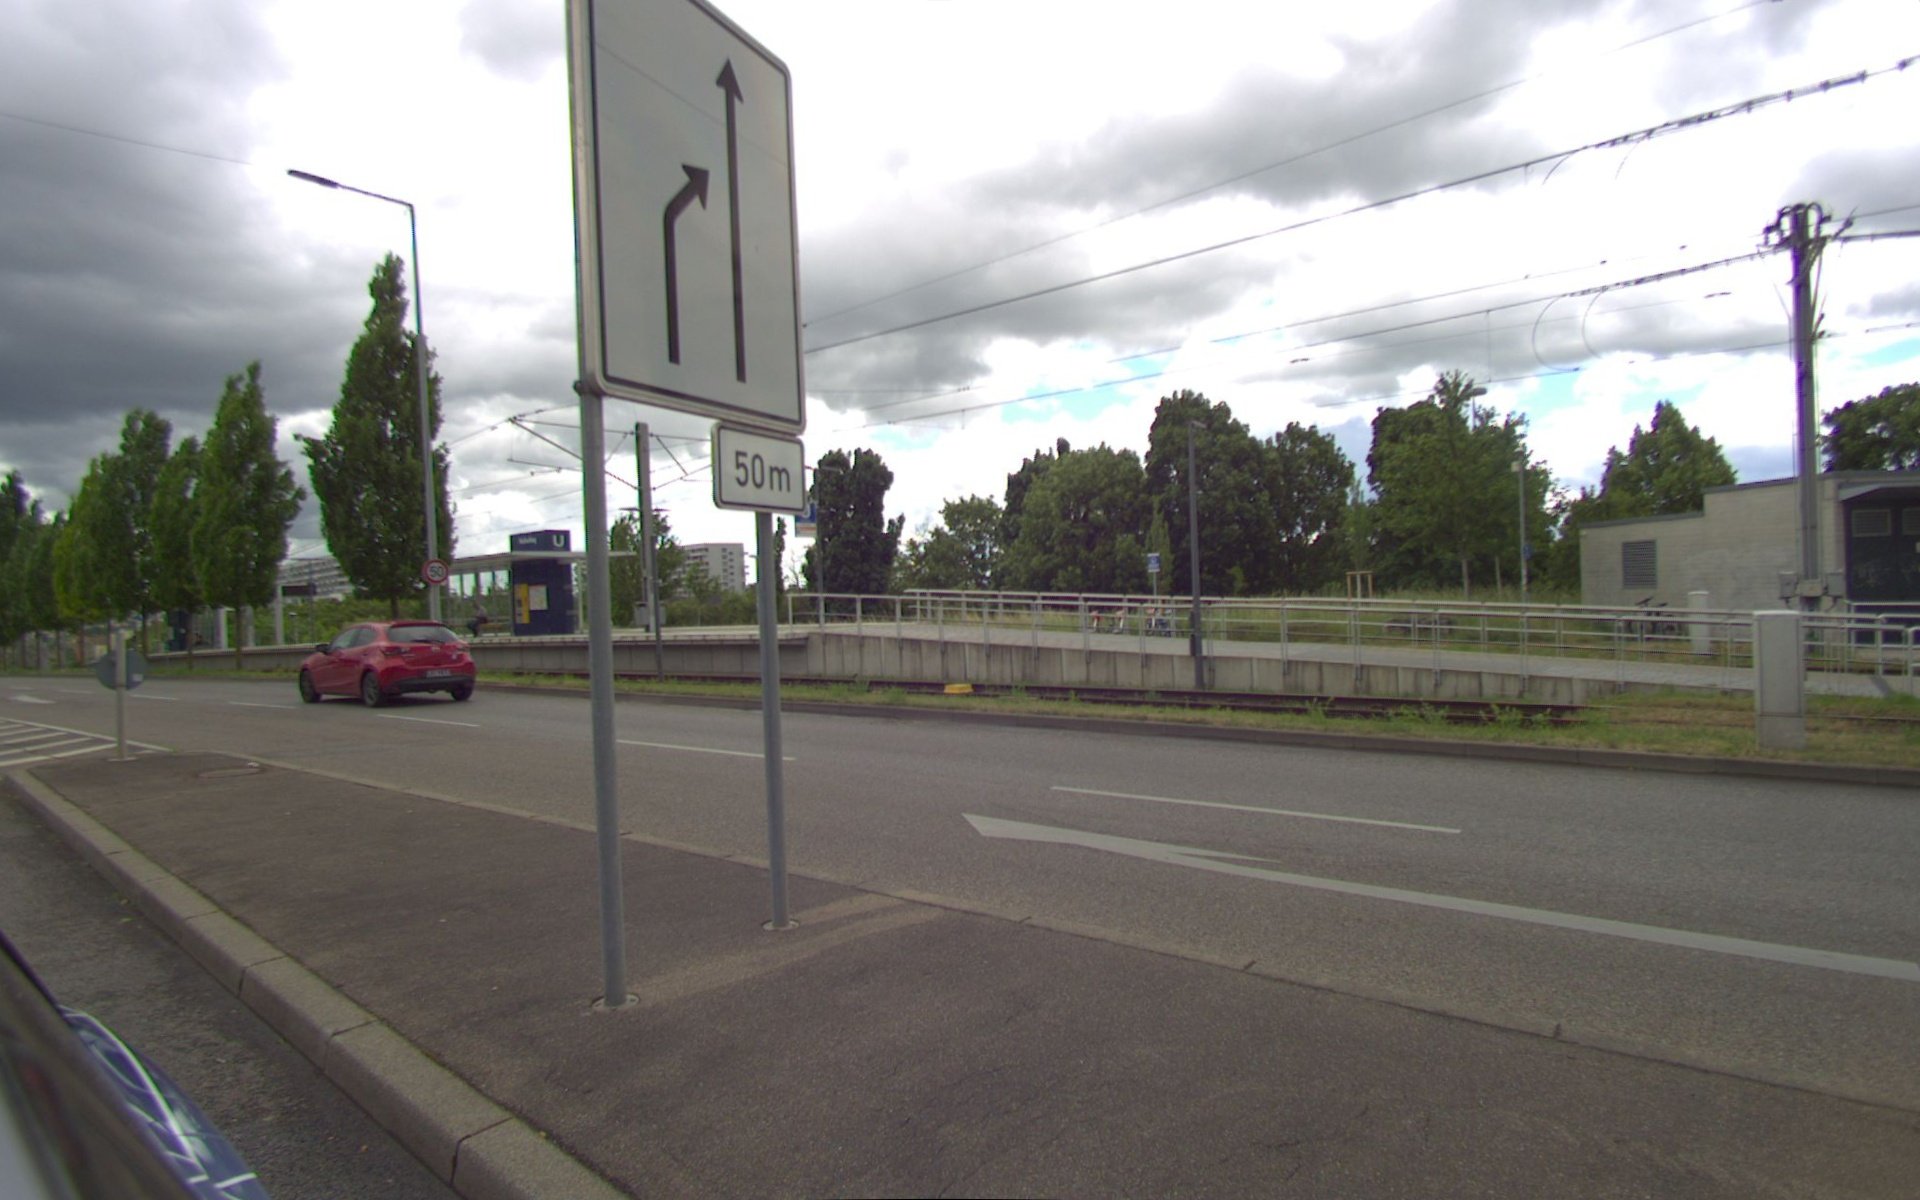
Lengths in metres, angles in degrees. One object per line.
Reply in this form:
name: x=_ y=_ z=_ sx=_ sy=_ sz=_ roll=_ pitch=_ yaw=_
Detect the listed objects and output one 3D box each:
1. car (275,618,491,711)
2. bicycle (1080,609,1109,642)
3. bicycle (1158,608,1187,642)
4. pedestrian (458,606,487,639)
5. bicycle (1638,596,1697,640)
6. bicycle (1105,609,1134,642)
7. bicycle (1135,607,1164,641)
car: x=-10.525 y=1.097 z=18.357 sx=4.417 sy=1.454 sz=1.765 roll=-1 pitch=0 yaw=36
bicycle: x=4.680 y=0.890 z=35.161 sx=0.490 sy=1.095 sz=1.466 roll=-2 pitch=-1 yaw=30
bicycle: x=7.043 y=0.810 z=33.468 sx=0.490 sy=1.095 sz=1.466 roll=-2 pitch=-1 yaw=30
pedestrian: x=-18.255 y=0.823 z=37.875 sx=0.781 sy=1.211 sz=0.656 roll=-2 pitch=-1 yaw=33
bicycle: x=18.191 y=0.453 z=26.059 sx=0.486 sy=1.095 sz=1.480 roll=-1 pitch=-1 yaw=3
bicycle: x=5.437 y=0.862 z=34.459 sx=0.490 sy=1.095 sz=1.466 roll=-2 pitch=-1 yaw=30
bicycle: x=6.377 y=0.788 z=33.948 sx=0.490 sy=1.095 sz=1.466 roll=-2 pitch=-1 yaw=30
